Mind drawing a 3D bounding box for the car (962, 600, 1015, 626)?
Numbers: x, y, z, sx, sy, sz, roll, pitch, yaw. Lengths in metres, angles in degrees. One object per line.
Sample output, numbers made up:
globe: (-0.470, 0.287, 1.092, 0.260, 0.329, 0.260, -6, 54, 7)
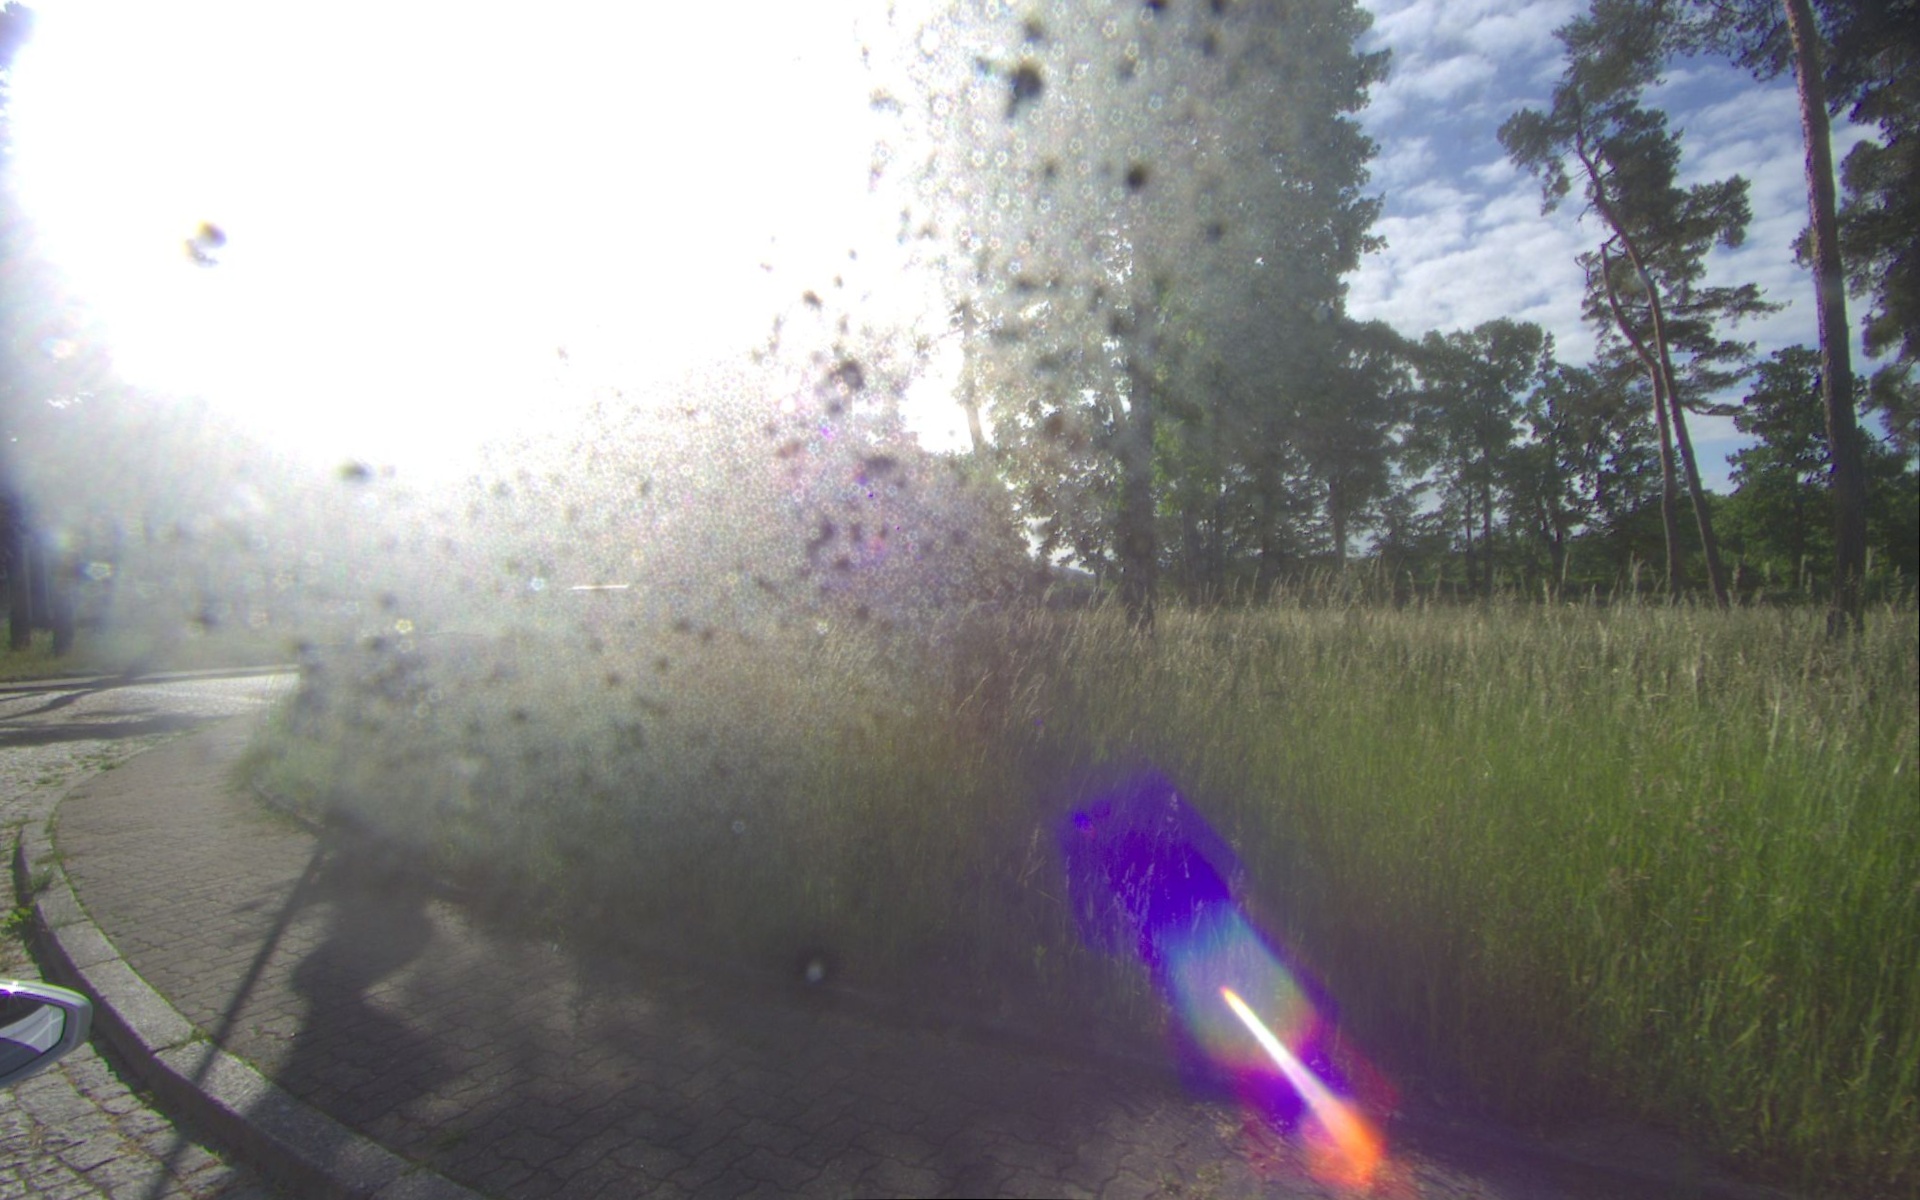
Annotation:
car: (1.859, 0.806, 63.583, 1.826, 1.620, 3.984, 0, 0, 27)

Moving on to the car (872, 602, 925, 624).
car: (-4.125, 0.870, 67.943, 1.818, 1.483, 3.984, -1, 0, 27)
